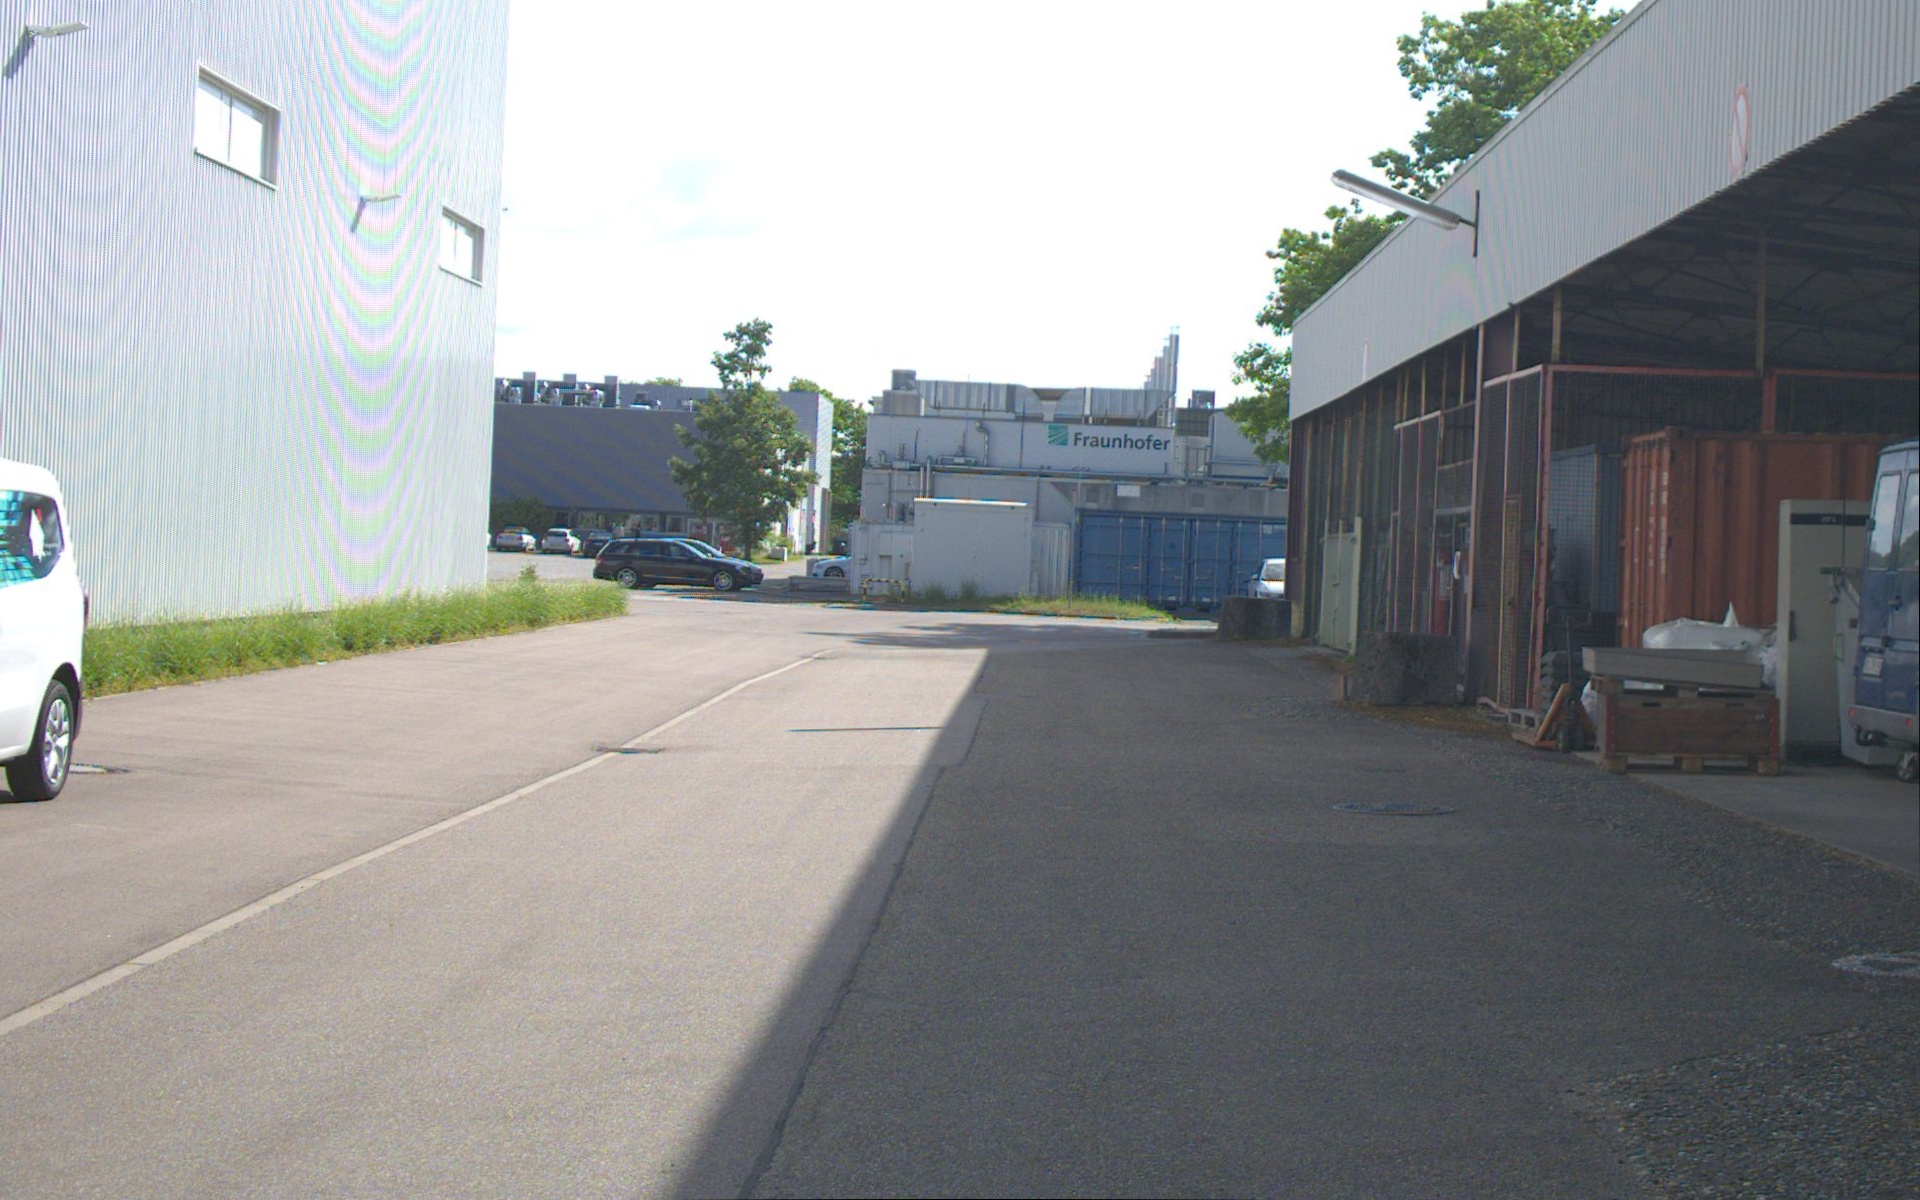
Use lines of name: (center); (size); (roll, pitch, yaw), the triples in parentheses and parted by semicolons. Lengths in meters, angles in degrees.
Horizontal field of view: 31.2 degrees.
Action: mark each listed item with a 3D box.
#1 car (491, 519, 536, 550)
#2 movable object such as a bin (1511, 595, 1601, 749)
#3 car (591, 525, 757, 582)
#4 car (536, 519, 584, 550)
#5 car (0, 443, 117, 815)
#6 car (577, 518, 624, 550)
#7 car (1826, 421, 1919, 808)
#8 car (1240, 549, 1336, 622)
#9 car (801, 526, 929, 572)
car: (-25.448, -3.745, 196.168); (1.993, 1.730, 4.000); (1, 1, 1)
movable object such as a bin: (4.724, 0.556, 27.305); (0.582, 1.160, 1.238); (2, 1, 5)
car: (-8.208, -1.334, 98.917); (4.526, 1.503, 1.909); (2, 1, 3)
car: (-22.855, -3.745, 196.444); (2.193, 1.730, 4.000); (1, 1, 1)
car: (-5.650, 0.087, 16.652); (1.890, 1.839, 4.358); (4, 1, 1)
car: (-20.333, -3.726, 194.667); (2.193, 1.730, 4.000); (1, 1, 1)
car: (8.192, 0.155, 21.526); (4.979, 2.317, 2.000); (2, 1, 2)
car: (8.157, -0.393, 85.739); (1.993, 1.580, 4.173); (2, 2, 1)
car: (-3.480, -1.868, 126.397); (4.526, 1.503, 1.909); (2, 1, 2)
